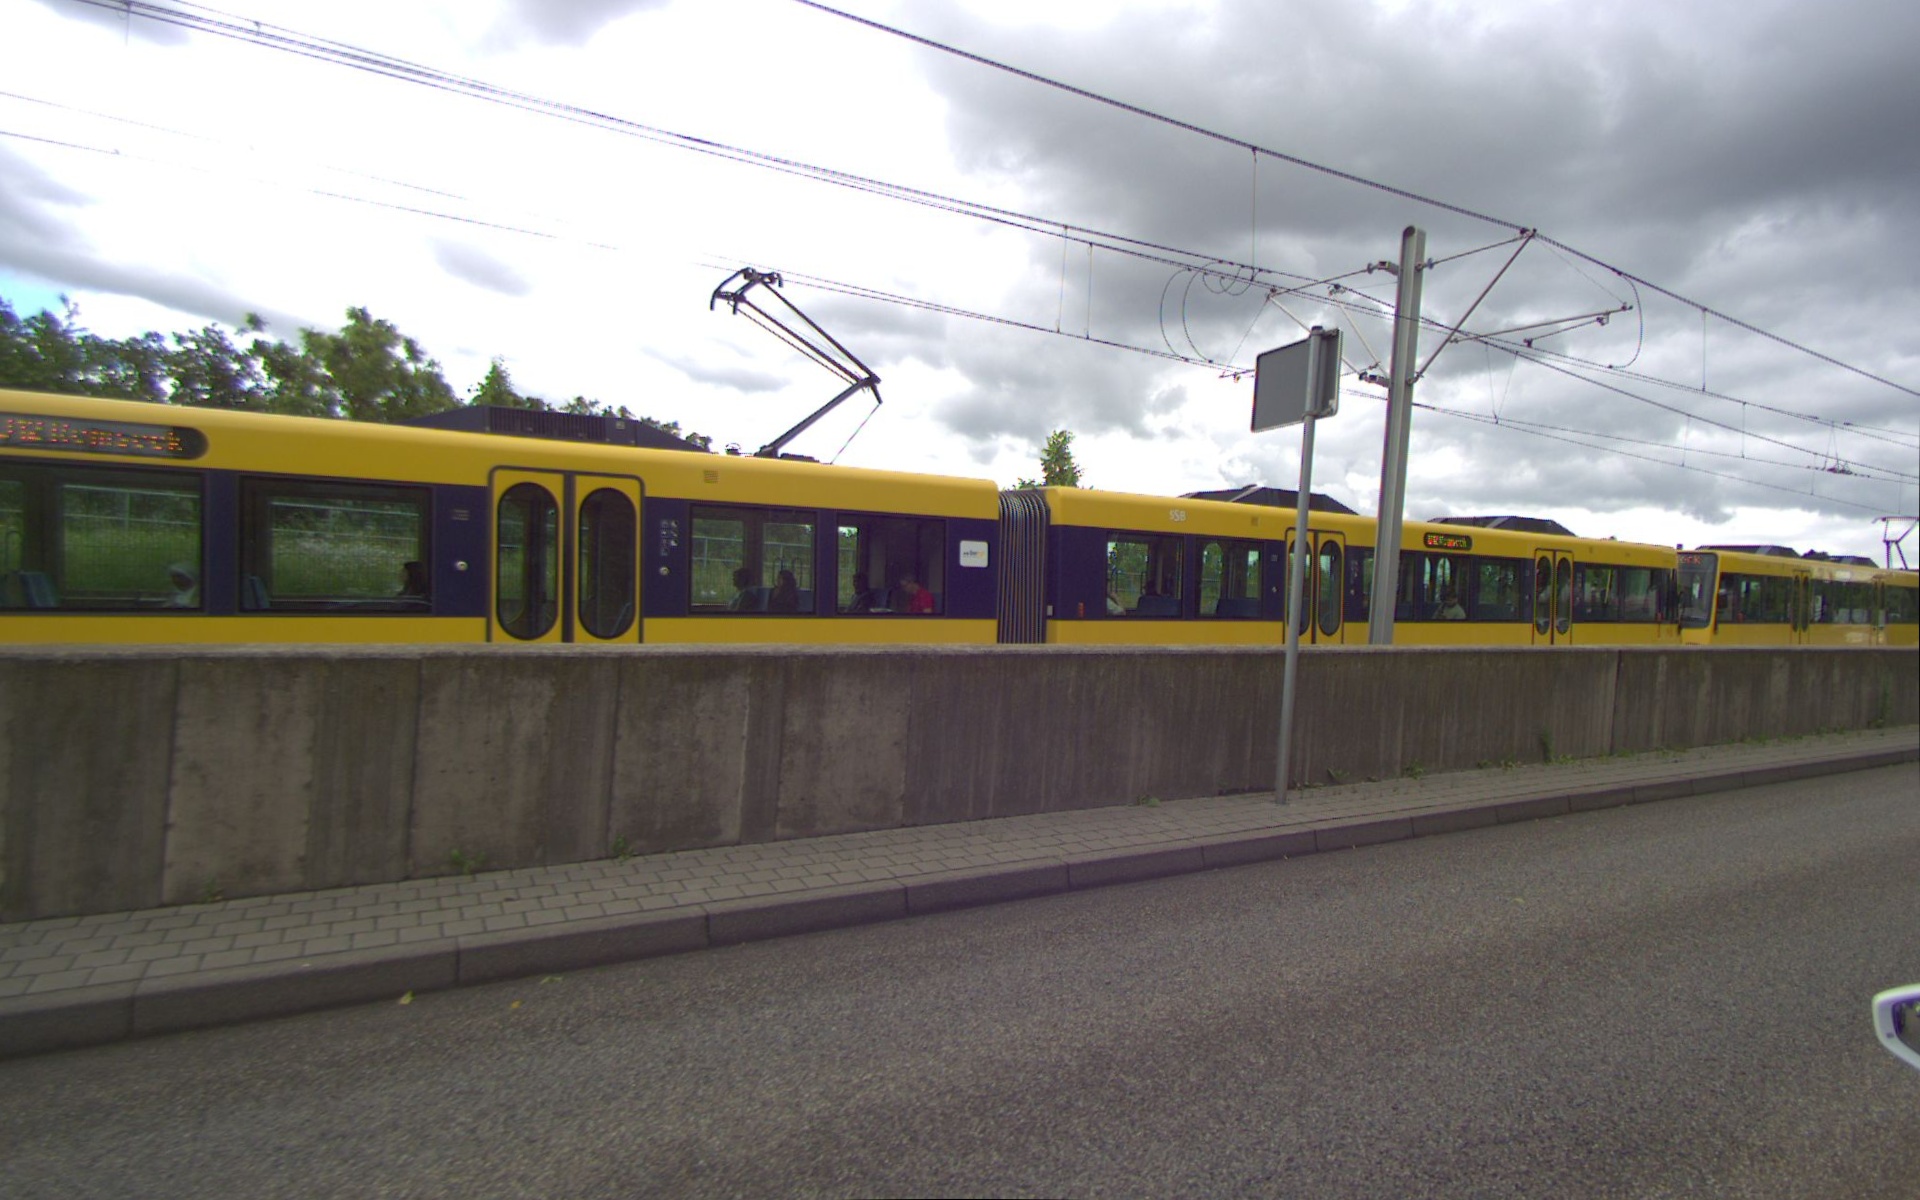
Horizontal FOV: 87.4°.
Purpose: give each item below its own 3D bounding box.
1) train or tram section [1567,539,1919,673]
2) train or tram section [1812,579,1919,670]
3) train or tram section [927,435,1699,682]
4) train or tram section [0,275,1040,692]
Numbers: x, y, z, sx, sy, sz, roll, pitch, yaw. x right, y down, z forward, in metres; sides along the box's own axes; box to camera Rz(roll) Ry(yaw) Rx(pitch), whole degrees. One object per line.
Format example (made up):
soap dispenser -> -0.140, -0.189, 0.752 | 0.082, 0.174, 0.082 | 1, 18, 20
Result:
train or tram section -> 23.859, 0.471, 29.573 | 19.116, 3.065, 2.783 | 3, -1, -35
train or tram section -> 38.887, 1.148, 40.717 | 18.711, 3.062, 2.775 | 3, -1, -38
train or tram section -> 8.207, -0.188, 19.024 | 18.896, 3.117, 2.788 | 2, -1, -33
train or tram section -> -7.722, -0.876, 8.984 | 18.701, 3.158, 2.797 | 2, -1, -31
